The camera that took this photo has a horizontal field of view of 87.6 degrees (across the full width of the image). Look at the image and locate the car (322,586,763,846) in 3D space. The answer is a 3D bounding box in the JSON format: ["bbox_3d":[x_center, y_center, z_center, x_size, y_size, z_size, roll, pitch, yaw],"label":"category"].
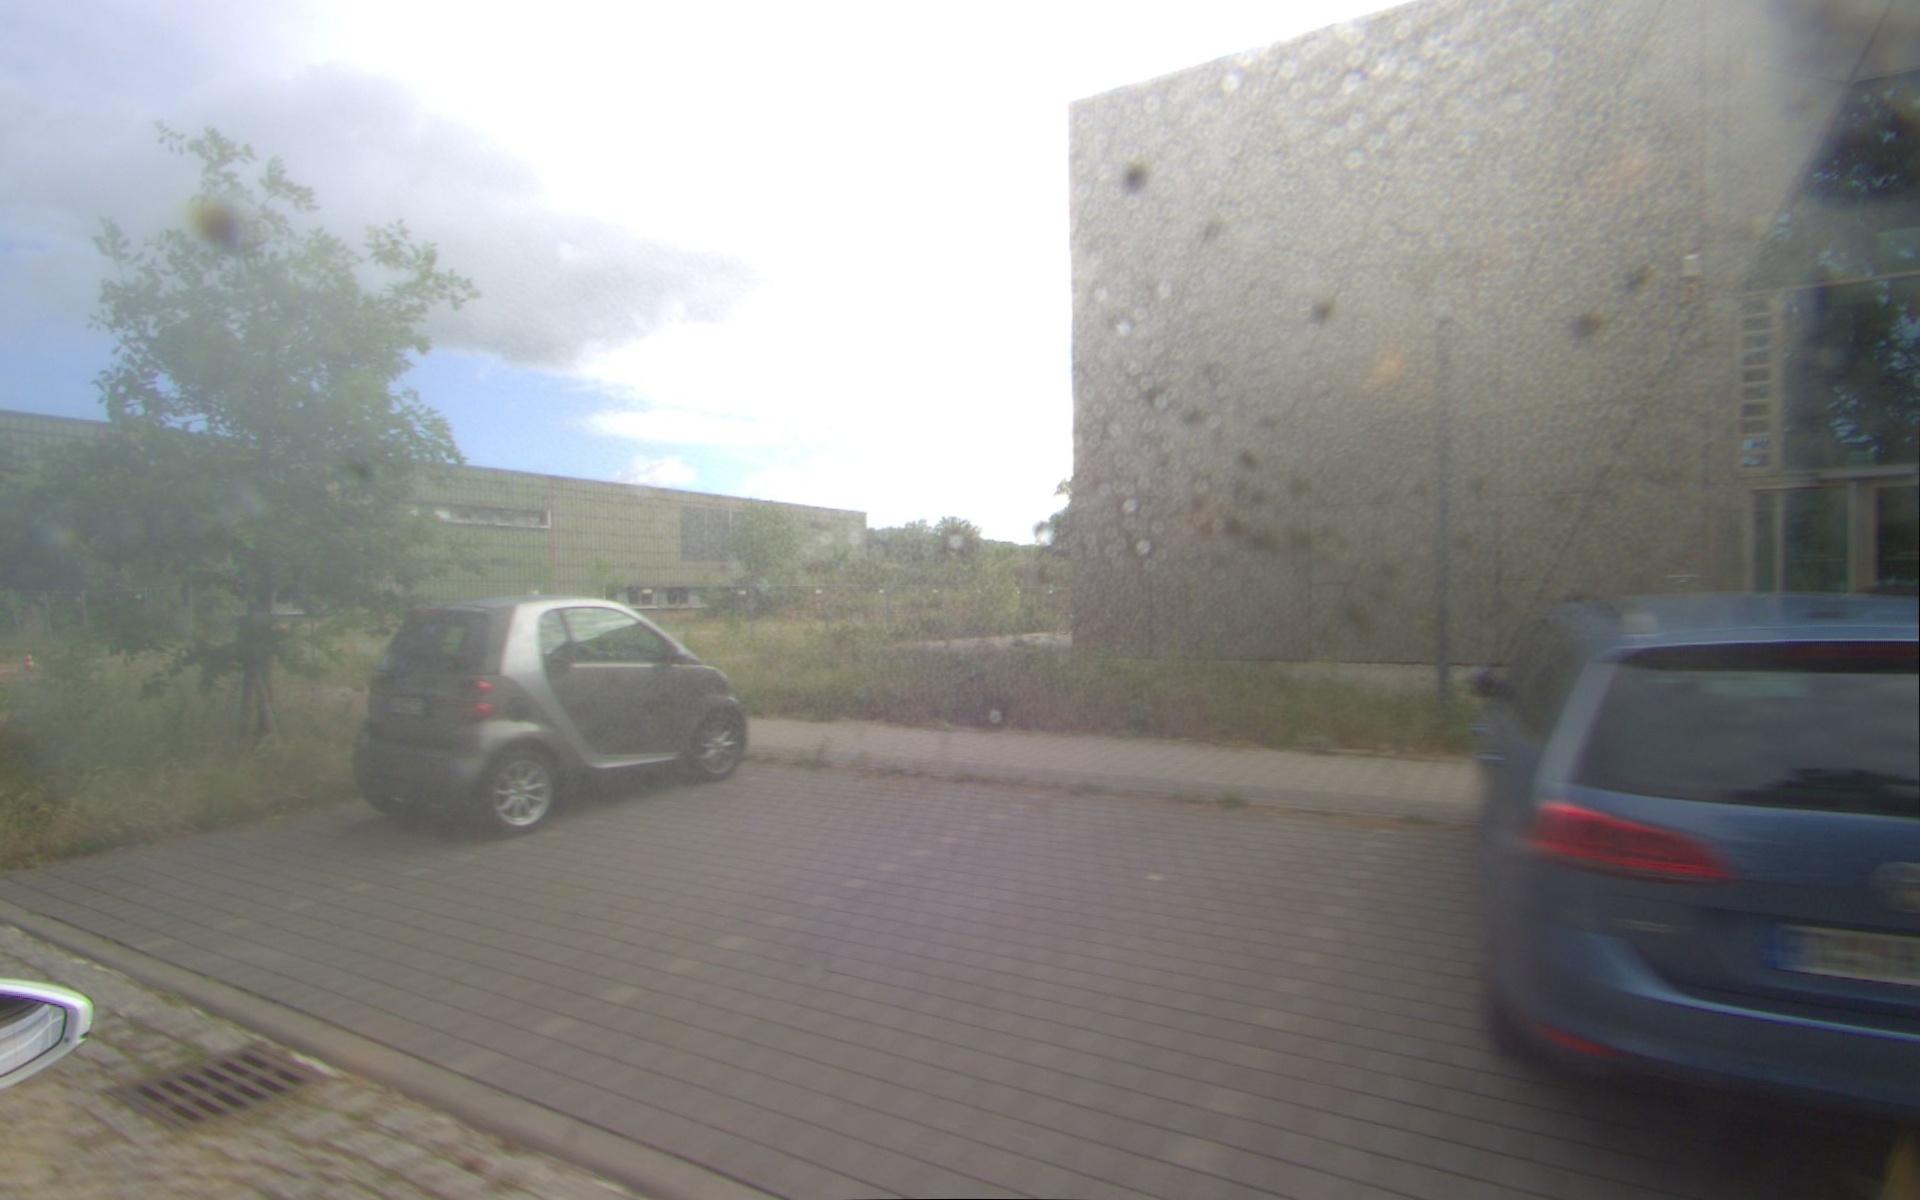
[{"bbox_3d":[-3.085,0.711,7.799,1.630,1.577,2.703,0,2,32],"label":"car"}]

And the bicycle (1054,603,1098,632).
[{"bbox_3d":[4.407,0.661,38.098,1.637,1.100,0.508,0,1,41],"label":"bicycle"}]

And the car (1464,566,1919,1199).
[{"bbox_3d":[3.086,0.664,4.019,1.802,1.496,4.484,0,2,28],"label":"car"}]
